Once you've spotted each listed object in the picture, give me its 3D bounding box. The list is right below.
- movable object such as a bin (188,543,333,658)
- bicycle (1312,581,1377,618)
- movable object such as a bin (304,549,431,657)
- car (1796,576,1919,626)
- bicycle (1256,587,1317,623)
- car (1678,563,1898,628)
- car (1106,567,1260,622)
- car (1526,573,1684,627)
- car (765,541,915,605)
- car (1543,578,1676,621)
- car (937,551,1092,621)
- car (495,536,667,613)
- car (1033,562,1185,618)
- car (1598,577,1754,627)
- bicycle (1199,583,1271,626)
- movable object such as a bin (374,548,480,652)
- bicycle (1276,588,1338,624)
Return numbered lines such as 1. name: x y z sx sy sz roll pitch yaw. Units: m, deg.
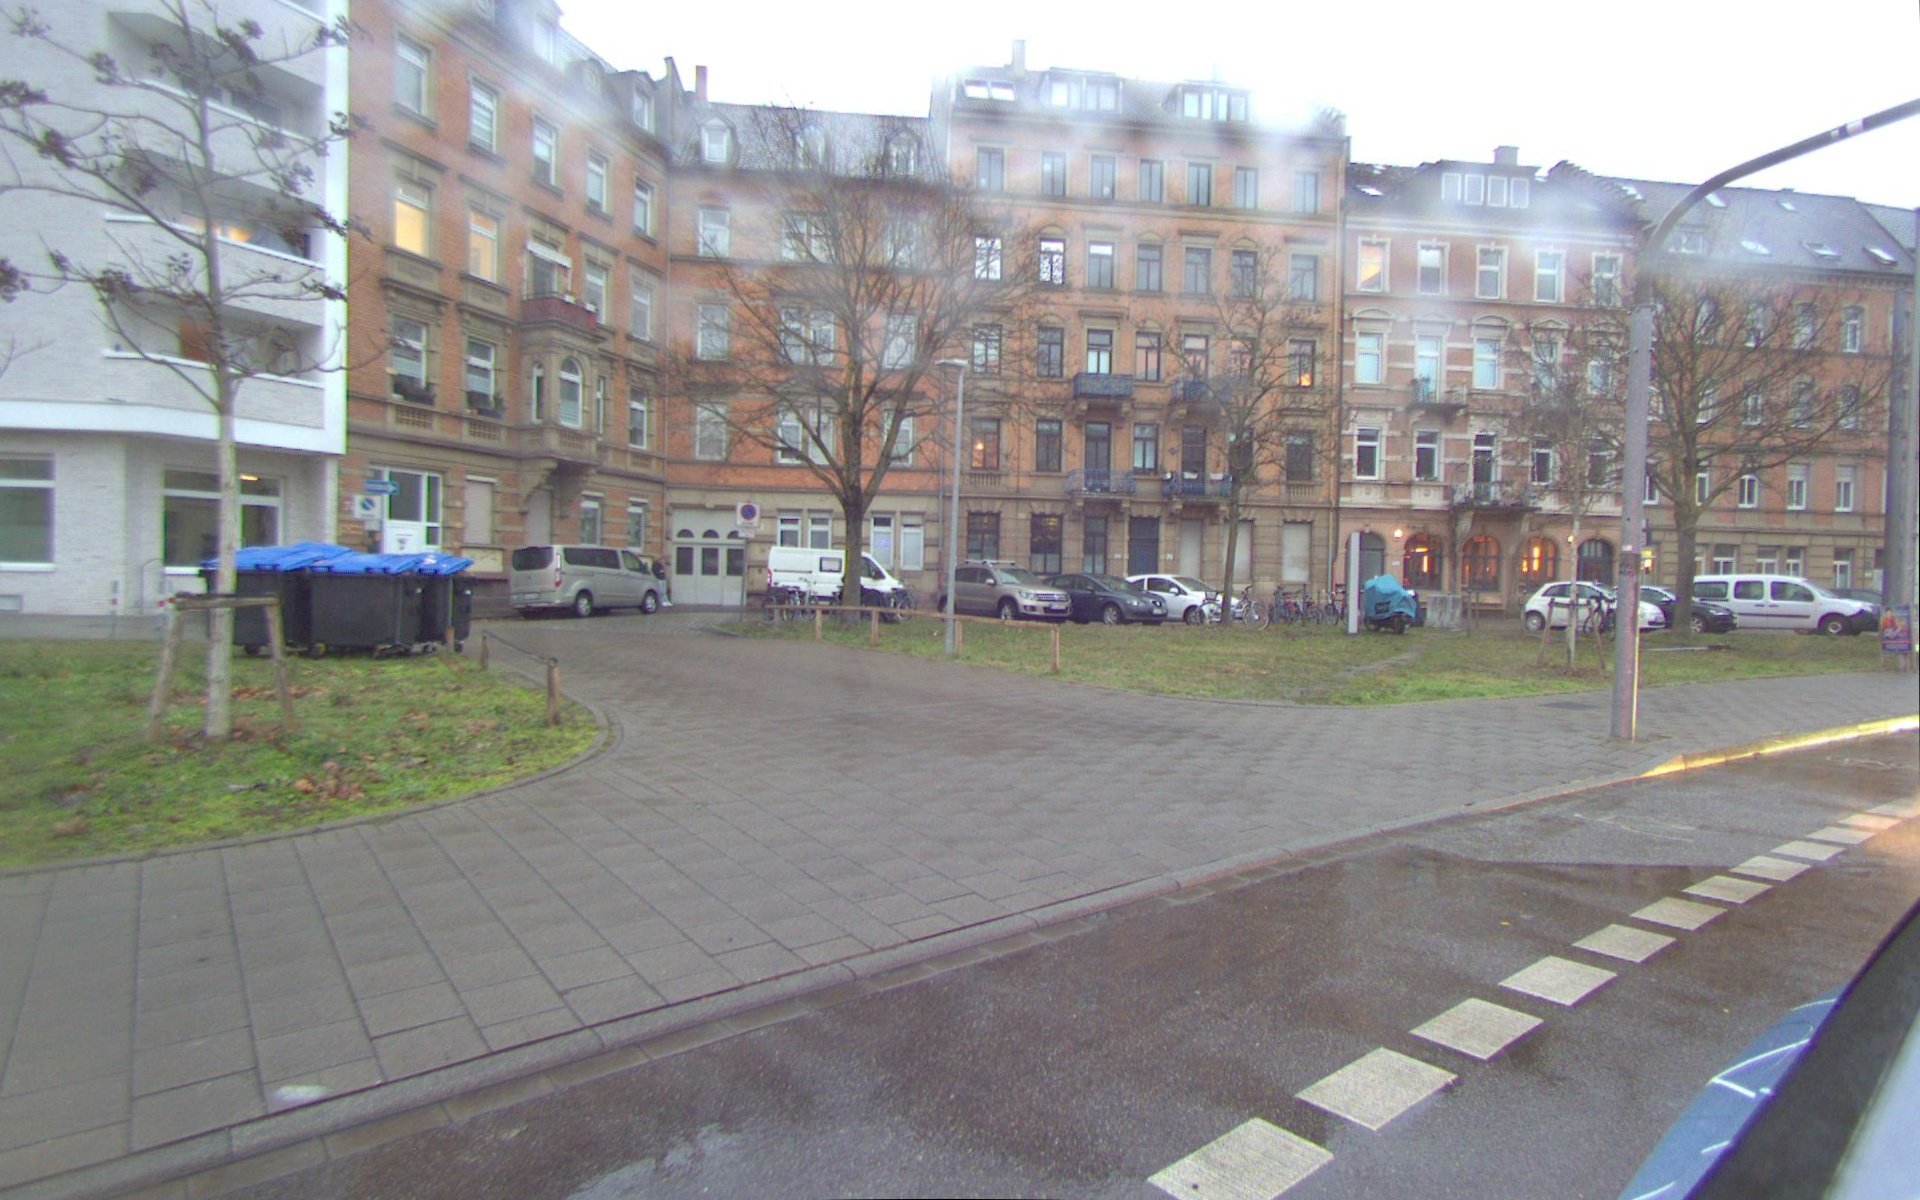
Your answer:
1. movable object such as a bin: -9.667 -0.003 14.044 1.303 1.514 1.031 1 1 0
2. bicycle: 11.136 -0.034 29.391 0.613 0.978 2.176 1 2 -13
3. movable object such as a bin: -8.293 0.027 14.221 1.200 1.433 1.018 1 2 -3
4. car: 27.097 0.067 29.339 1.737 1.250 4.066 2 3 -35
5. bicycle: 9.408 0.136 29.252 0.613 0.978 2.175 3 -1 -13
6. car: 24.093 -0.184 29.635 1.745 1.611 4.663 0 3 -37
7. car: 6.019 -0.184 27.625 1.669 1.353 3.852 0 1 -42
8. car: 18.389 0.008 28.975 1.583 1.461 3.467 1 0 -34
9. car: -4.084 -0.922 34.483 4.885 2.038 2.003 1 2 -7
10. car: 24.179 0.010 37.735 3.967 1.520 1.740 1 -1 -9
11. car: 1.346 -0.423 26.411 1.908 1.656 3.999 -1 3 -37
12. car: -10.562 -0.626 28.612 1.976 1.943 4.715 -1 -1 21
13. car: 3.860 -0.257 26.621 1.649 1.372 3.737 2 0 -42
14. car: 20.946 0.026 29.703 1.634 1.368 3.430 1 0 -39
15. bicycle: 6.618 0.100 24.419 1.628 0.948 0.512 2 1 15
16. movable object such as a bin: -8.059 0.008 15.347 1.022 1.509 1.035 0 -1 6
17. bicycle: 10.042 0.164 29.391 0.613 0.978 2.175 3 -1 -13
